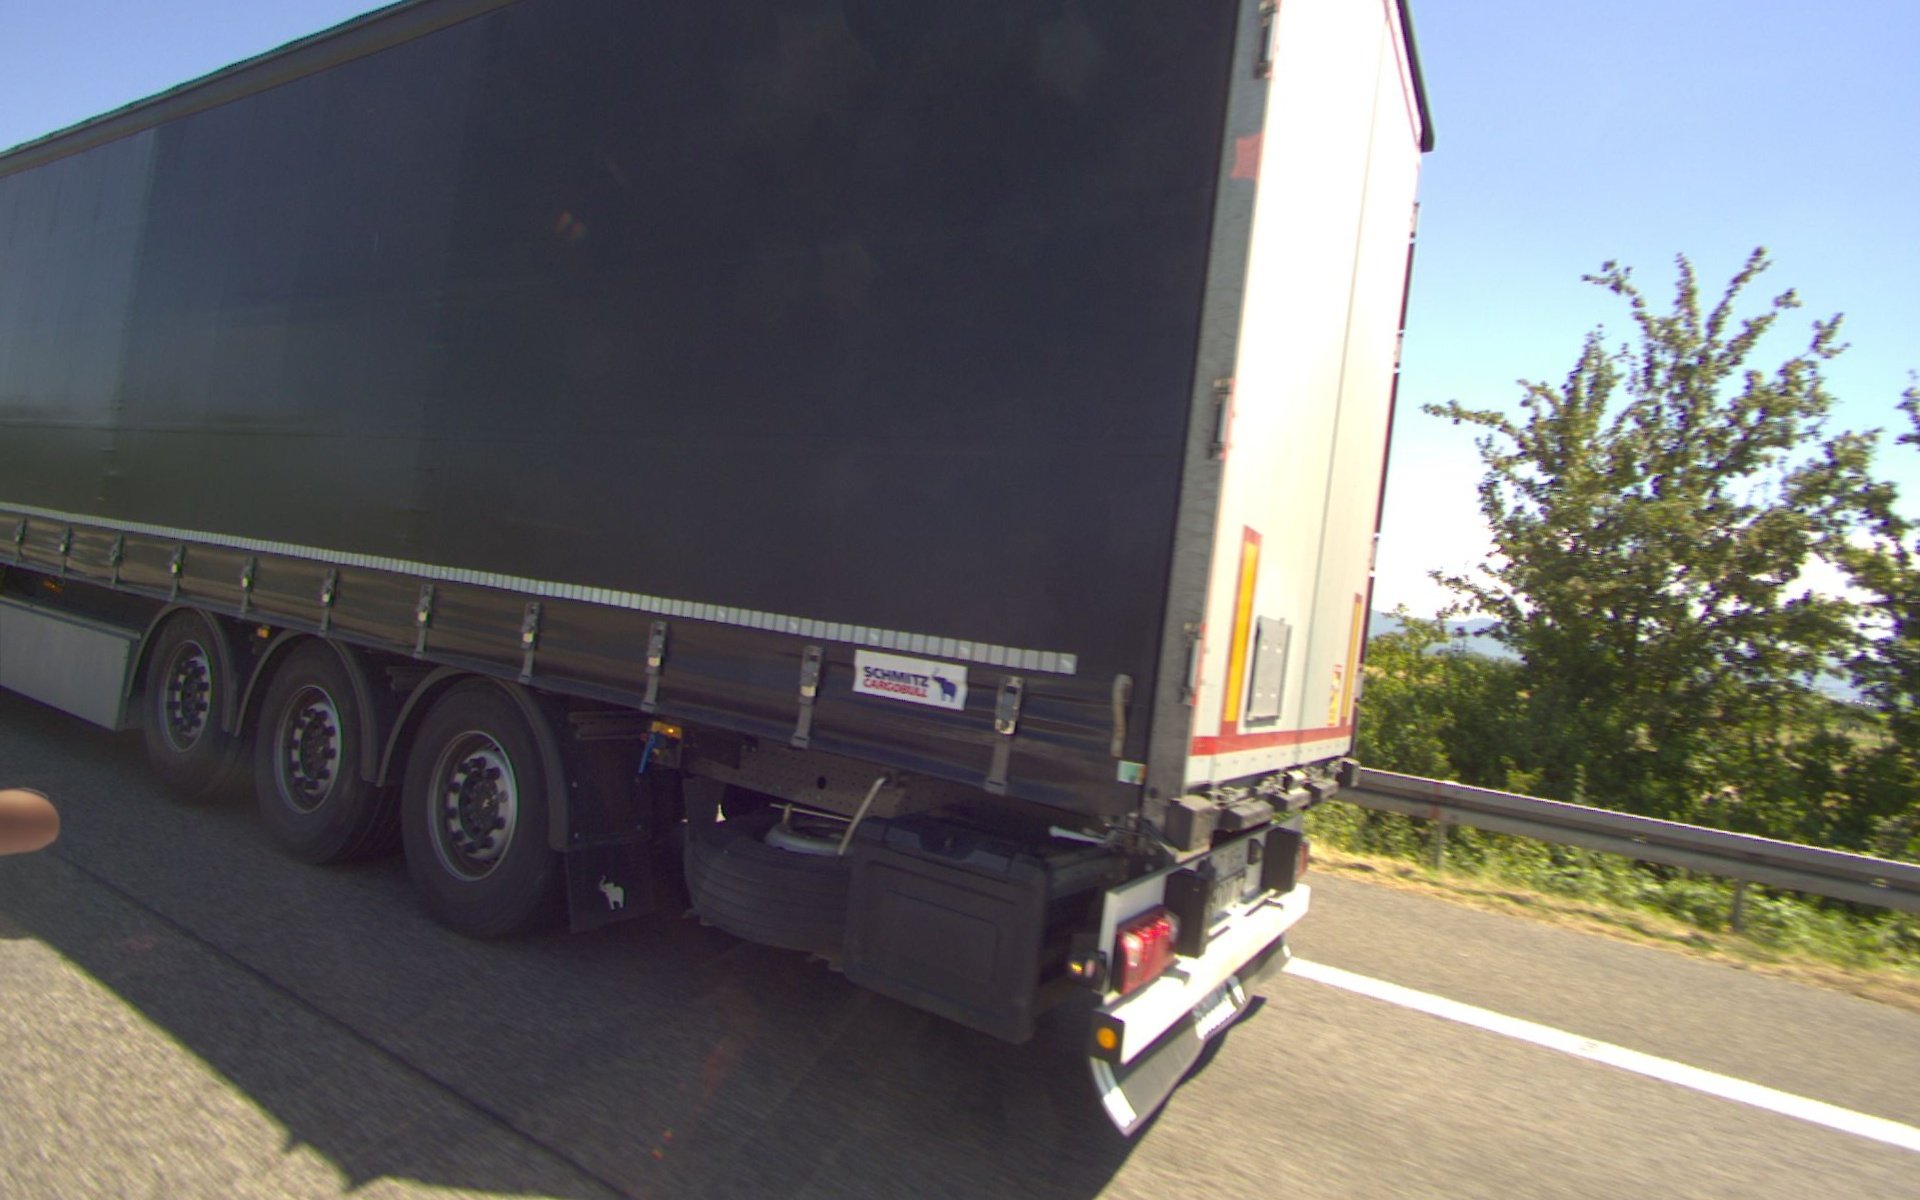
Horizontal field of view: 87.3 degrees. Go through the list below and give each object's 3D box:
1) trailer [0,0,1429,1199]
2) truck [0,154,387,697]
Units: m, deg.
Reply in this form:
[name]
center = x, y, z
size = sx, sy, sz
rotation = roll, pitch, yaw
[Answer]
[trailer]
center = -4.369, -0.969, 7.257
size = 13.407, 4.229, 3.441
rotation = 7, -2, 32
[truck]
center = -9.984, -1.565, 10.785
size = 6.731, 4.225, 3.471
rotation = 6, -2, 31
